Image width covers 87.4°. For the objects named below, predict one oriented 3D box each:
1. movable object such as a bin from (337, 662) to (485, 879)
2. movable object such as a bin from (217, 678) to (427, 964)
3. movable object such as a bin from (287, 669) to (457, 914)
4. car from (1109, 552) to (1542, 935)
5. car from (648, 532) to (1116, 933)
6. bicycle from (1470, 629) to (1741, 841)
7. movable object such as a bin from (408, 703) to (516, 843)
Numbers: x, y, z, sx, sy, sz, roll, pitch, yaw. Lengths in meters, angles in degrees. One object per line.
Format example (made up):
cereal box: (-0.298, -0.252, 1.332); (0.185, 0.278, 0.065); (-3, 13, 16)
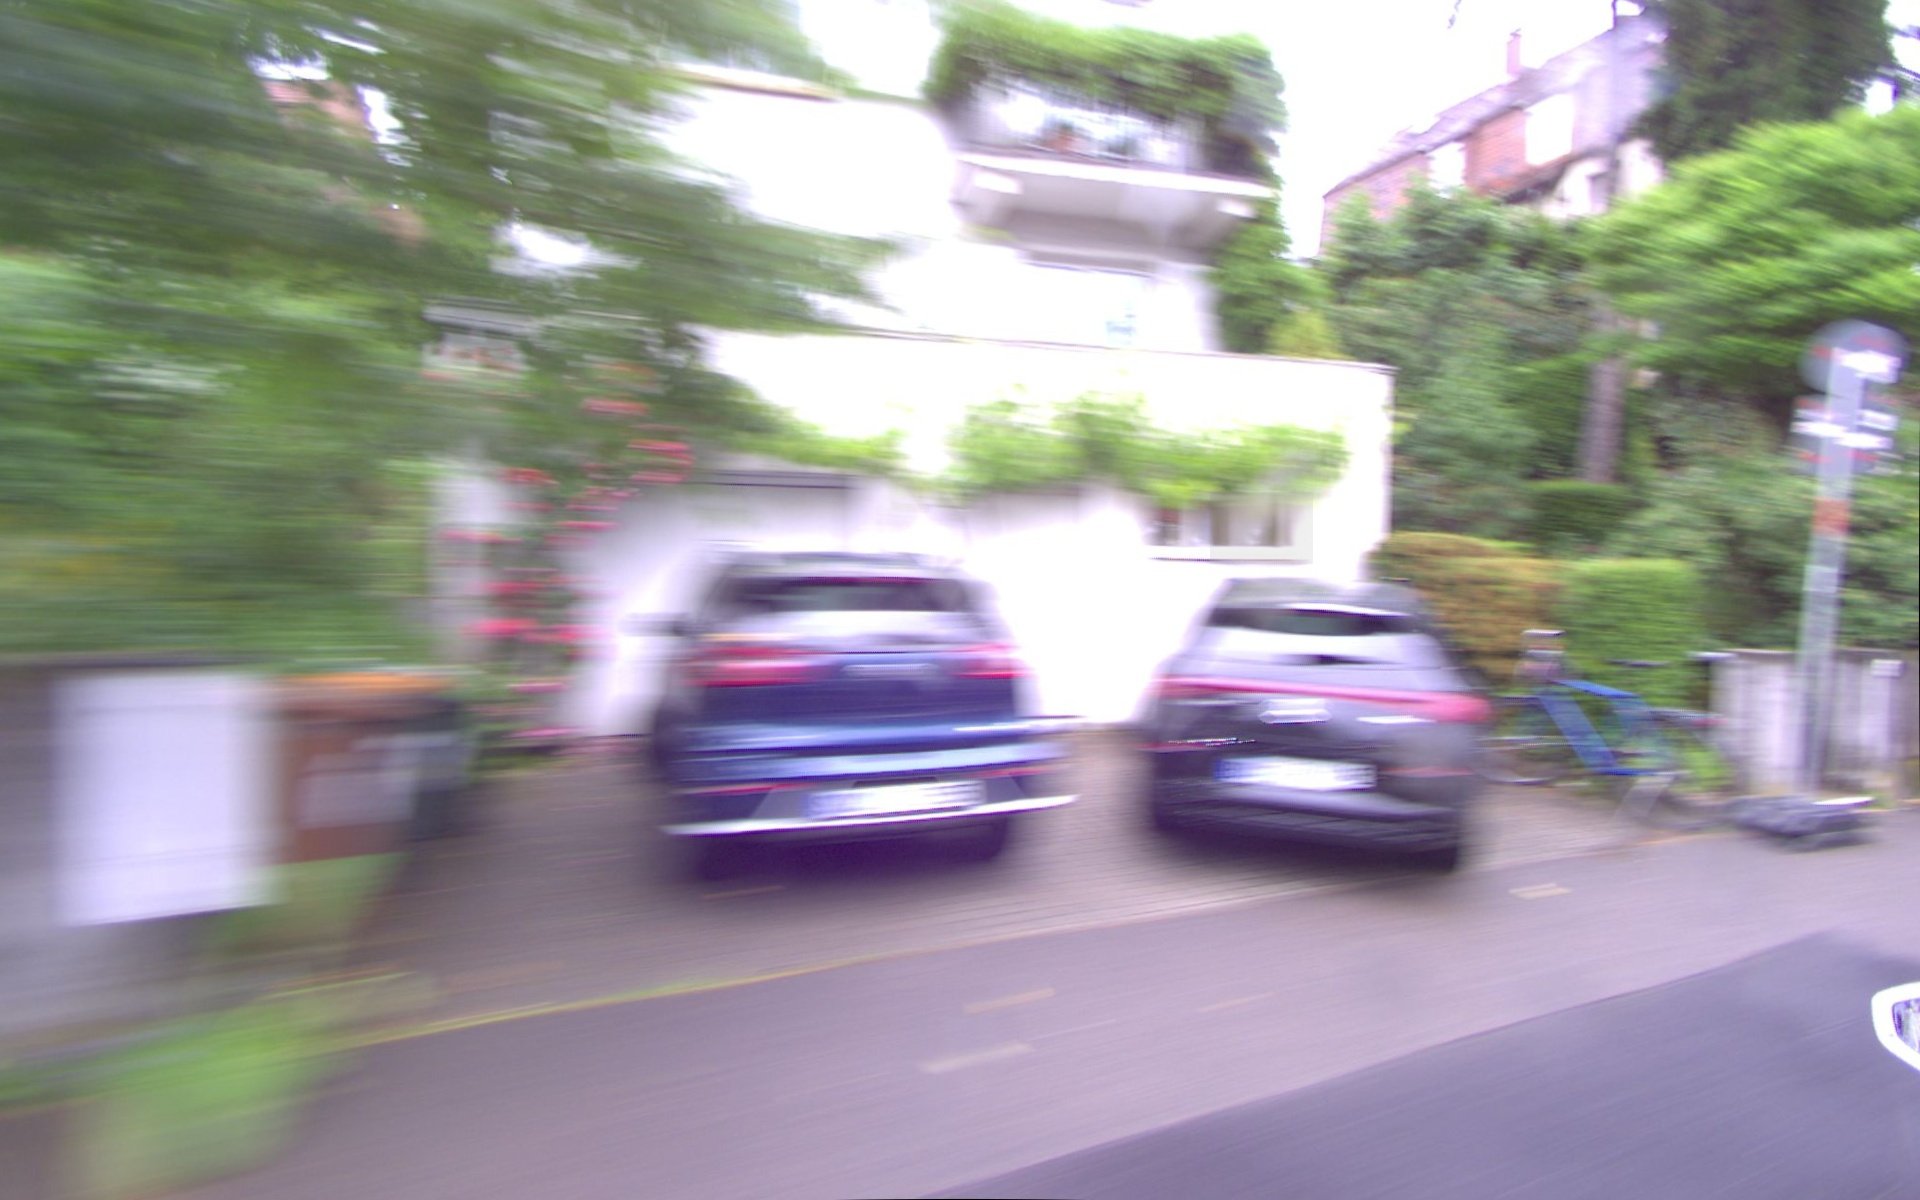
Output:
movable object such as a bin: (-2.602, 0.791, 4.801); (0.480, 0.943, 0.465); (3, 0, -14)
movable object such as a bin: (-2.364, 0.794, 3.773); (0.496, 0.943, 0.505); (3, 0, -14)
movable object such as a bin: (-2.487, 0.792, 4.290); (0.480, 0.943, 0.465); (3, 0, -14)
car: (2.261, 0.580, 6.401); (1.751, 1.546, 3.999); (3, 2, 20)
car: (-0.845, 0.486, 6.055); (1.910, 1.546, 3.984); (3, 1, -17)
bicycle: (4.204, 0.823, 6.697); (0.435, 1.146, 1.619); (3, 1, -13)
movable object such as a bin: (-2.668, 0.917, 5.407); (0.403, 0.663, 0.465); (3, 0, -14)
